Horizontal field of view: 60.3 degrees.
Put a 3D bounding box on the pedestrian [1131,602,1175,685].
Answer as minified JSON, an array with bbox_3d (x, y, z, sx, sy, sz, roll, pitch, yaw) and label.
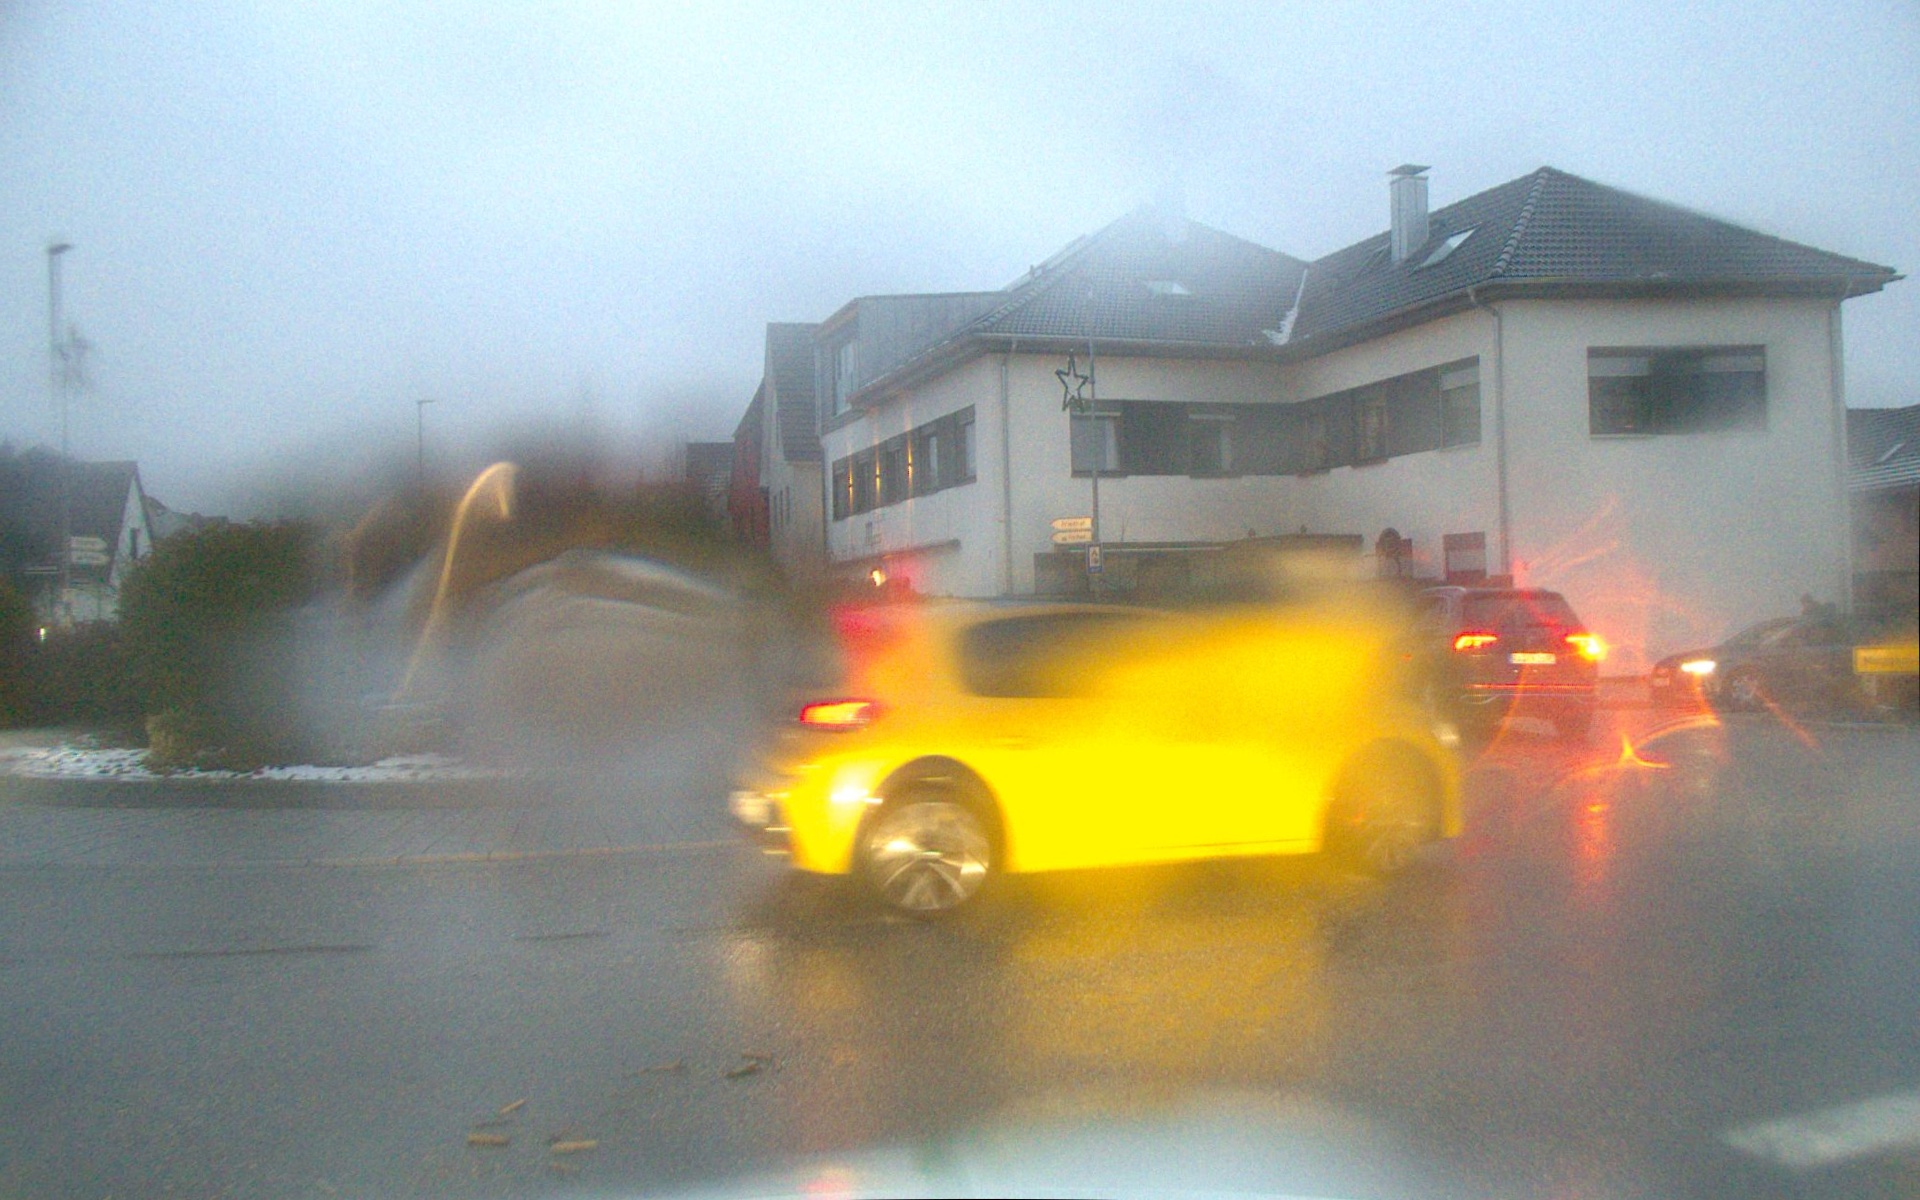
[{"bbox_3d":[3.780,0.846,32.362,0.675,1.592,0.610,-1,0,25],"label":"pedestrian"}]

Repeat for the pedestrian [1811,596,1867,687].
[{"bbox_3d":[16.072,0.749,30.253,0.700,1.649,0.583,-1,0,5],"label":"pedestrian"}]

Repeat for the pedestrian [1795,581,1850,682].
[{"bbox_3d":[16.207,0.587,31.086,0.700,1.864,0.638,-1,1,5],"label":"pedestrian"}]

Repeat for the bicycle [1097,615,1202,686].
[{"bbox_3d":[3.655,0.980,31.925,1.898,1.318,0.551,-1,1,25],"label":"bicycle"}]

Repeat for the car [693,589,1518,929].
[{"bbox_3d":[0.725,0.676,8.576,3.940,1.446,1.705,0,0,-20],"label":"car"}]

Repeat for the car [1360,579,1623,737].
[{"bbox_3d":[6.087,0.657,19.441,1.876,1.643,3.950,-1,-1,2],"label":"car"}]

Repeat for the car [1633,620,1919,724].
[{"bbox_3d":[12.411,1.066,24.451,4.137,1.408,1.849,-1,-3,-3],"label":"car"}]
